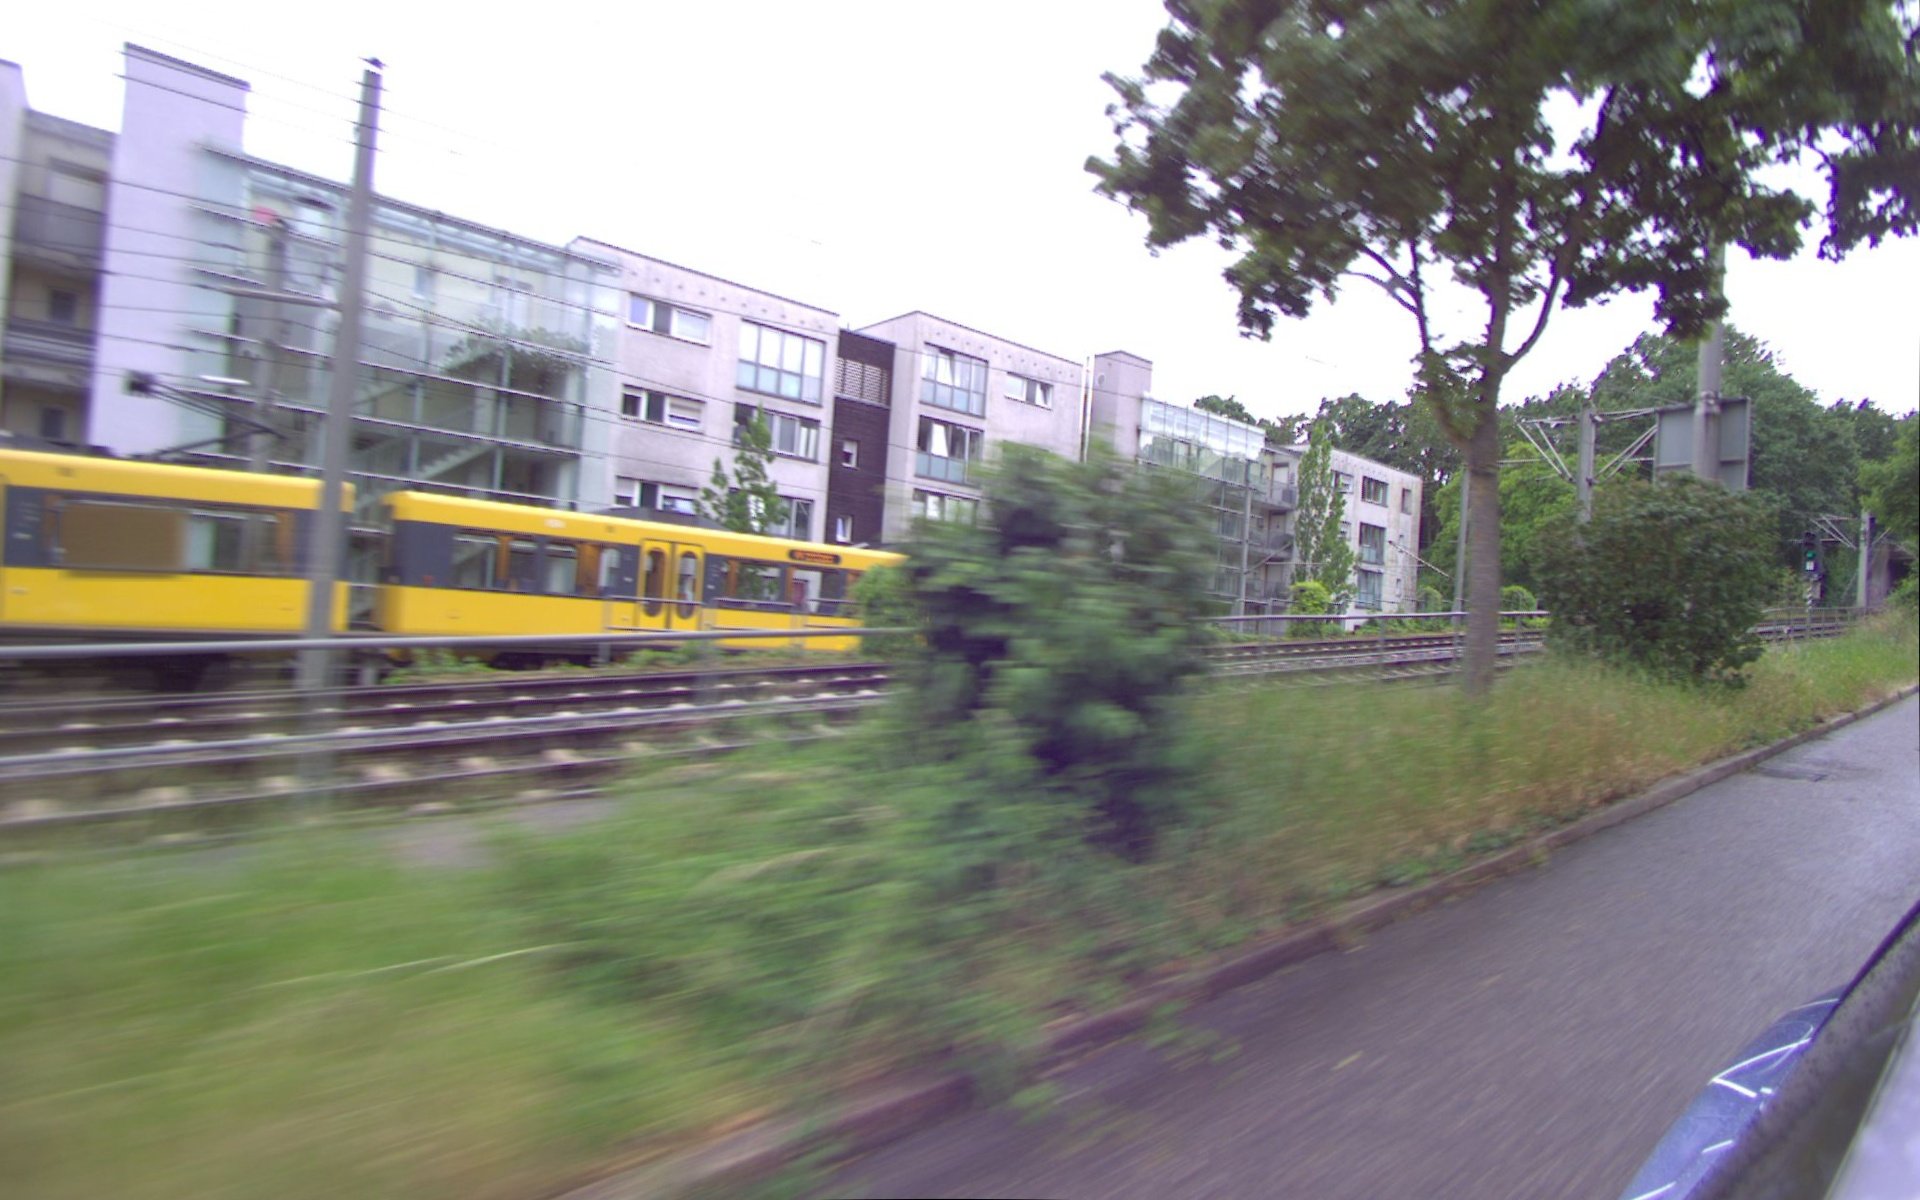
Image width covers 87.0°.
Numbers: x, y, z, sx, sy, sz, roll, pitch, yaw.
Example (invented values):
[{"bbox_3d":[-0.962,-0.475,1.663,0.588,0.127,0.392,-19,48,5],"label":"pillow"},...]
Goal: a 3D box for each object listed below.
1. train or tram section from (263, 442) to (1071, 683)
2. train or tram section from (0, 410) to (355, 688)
[{"bbox_3d":[-5.082,-0.600,24.290,18.941,3.996,3.337,1,1,-41],"label":"train or tram section"},{"bbox_3d":[-18.548,-0.911,12.648,18.479,3.997,3.337,2,0,-41],"label":"train or tram section"}]
